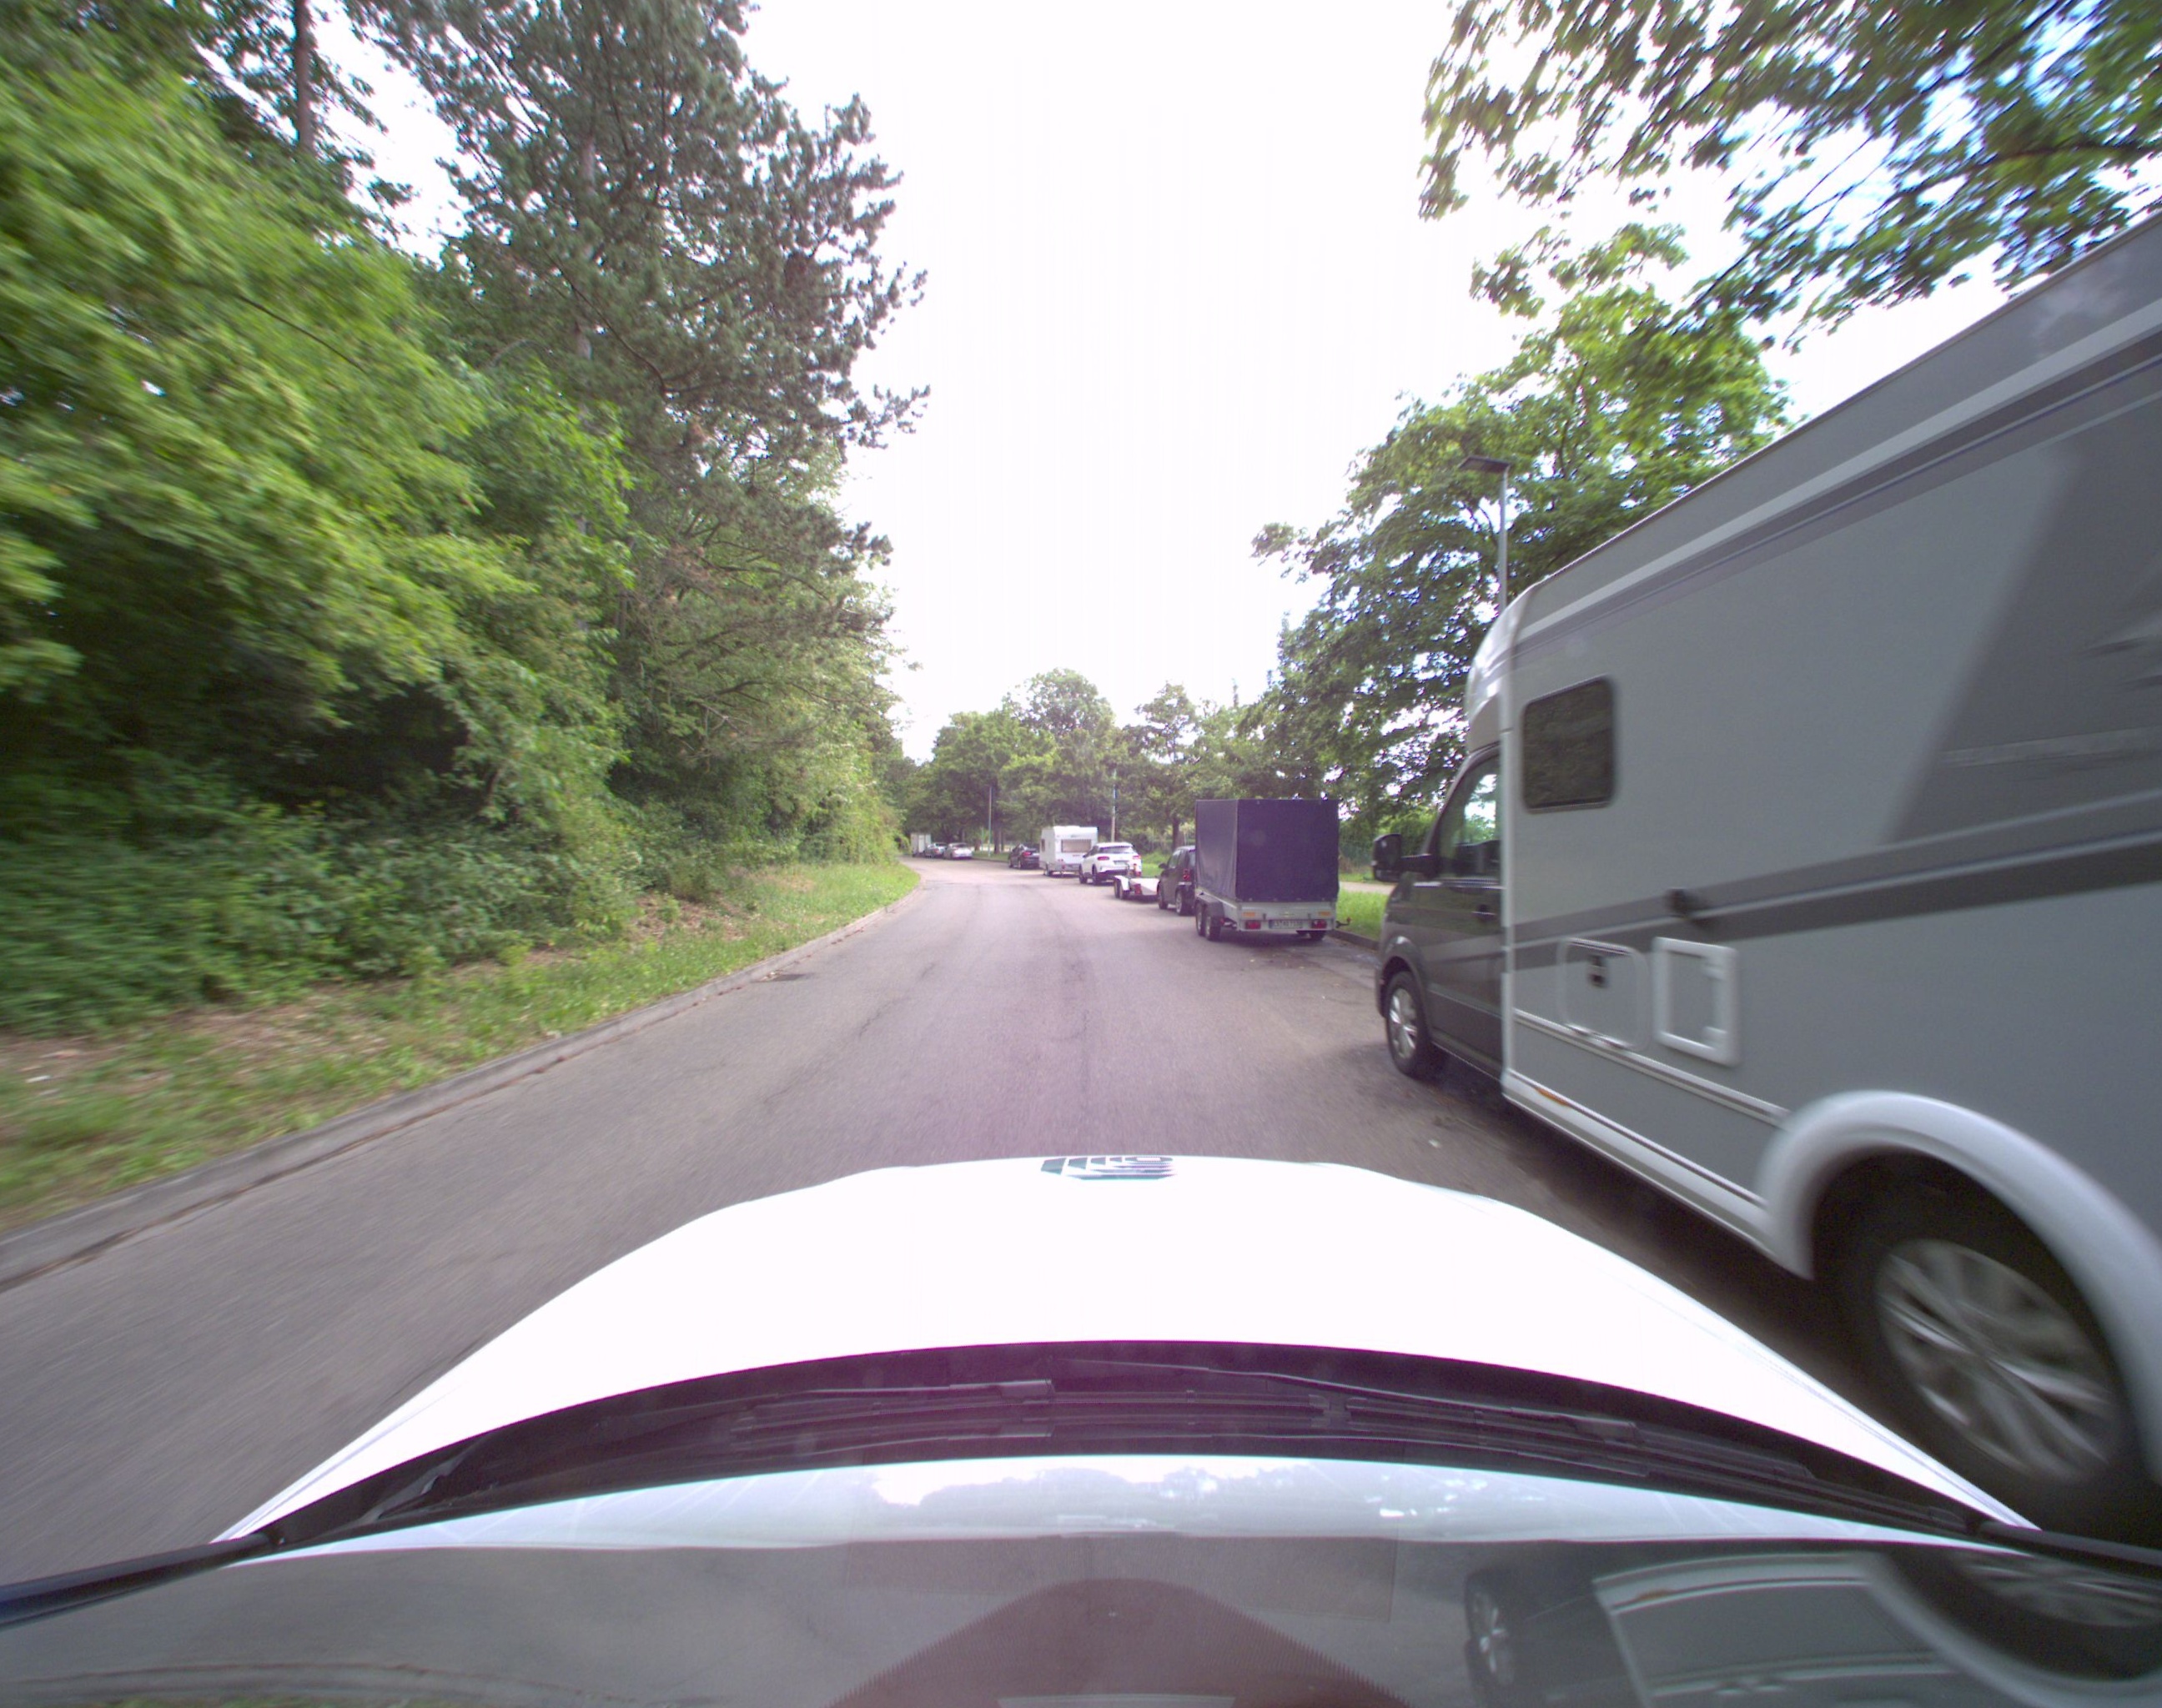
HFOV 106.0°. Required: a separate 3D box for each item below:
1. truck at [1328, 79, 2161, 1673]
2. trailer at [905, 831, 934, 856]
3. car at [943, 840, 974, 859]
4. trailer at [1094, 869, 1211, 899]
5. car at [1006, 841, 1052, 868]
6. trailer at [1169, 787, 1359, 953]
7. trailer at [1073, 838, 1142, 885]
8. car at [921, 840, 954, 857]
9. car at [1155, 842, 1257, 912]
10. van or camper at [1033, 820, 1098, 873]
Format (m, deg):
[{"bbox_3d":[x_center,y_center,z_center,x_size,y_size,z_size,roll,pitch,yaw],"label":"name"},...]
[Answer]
[{"bbox_3d":[3.165,0.023,3.249,2.296,2.933,7.034,-1,0,1],"label":"truck"},{"bbox_3d":[-16.224,-1.029,81.763,1.771,2.426,3.850,-2,1,-29],"label":"trailer"},{"bbox_3d":[-10.711,-0.388,71.073,1.909,1.476,4.029,1,-2,-21],"label":"car"},{"bbox_3d":[1.980,0.856,24.967,2.103,0.651,6.382,0,0,-9],"label":"trailer"},{"bbox_3d":[-3.344,-0.024,51.792,1.853,1.642,4.503,-1,1,-18],"label":"car"},{"bbox_3d":[2.934,0.136,14.222,2.101,2.361,4.699,-2,2,-2],"label":"trailer"},{"bbox_3d":[0.993,0.298,33.342,1.773,1.730,4.632,-2,0,-11],"label":"trailer"},{"bbox_3d":[-13.613,-0.480,77.104,1.752,1.525,4.593,-2,1,-29],"label":"car"},{"bbox_3d":[2.856,0.528,19.299,1.725,1.522,3.400,0,-1,-3],"label":"car"},{"bbox_3d":[-0.913,-0.354,42.293,2.164,2.536,6.004,0,0,-13],"label":"van or camper"}]
